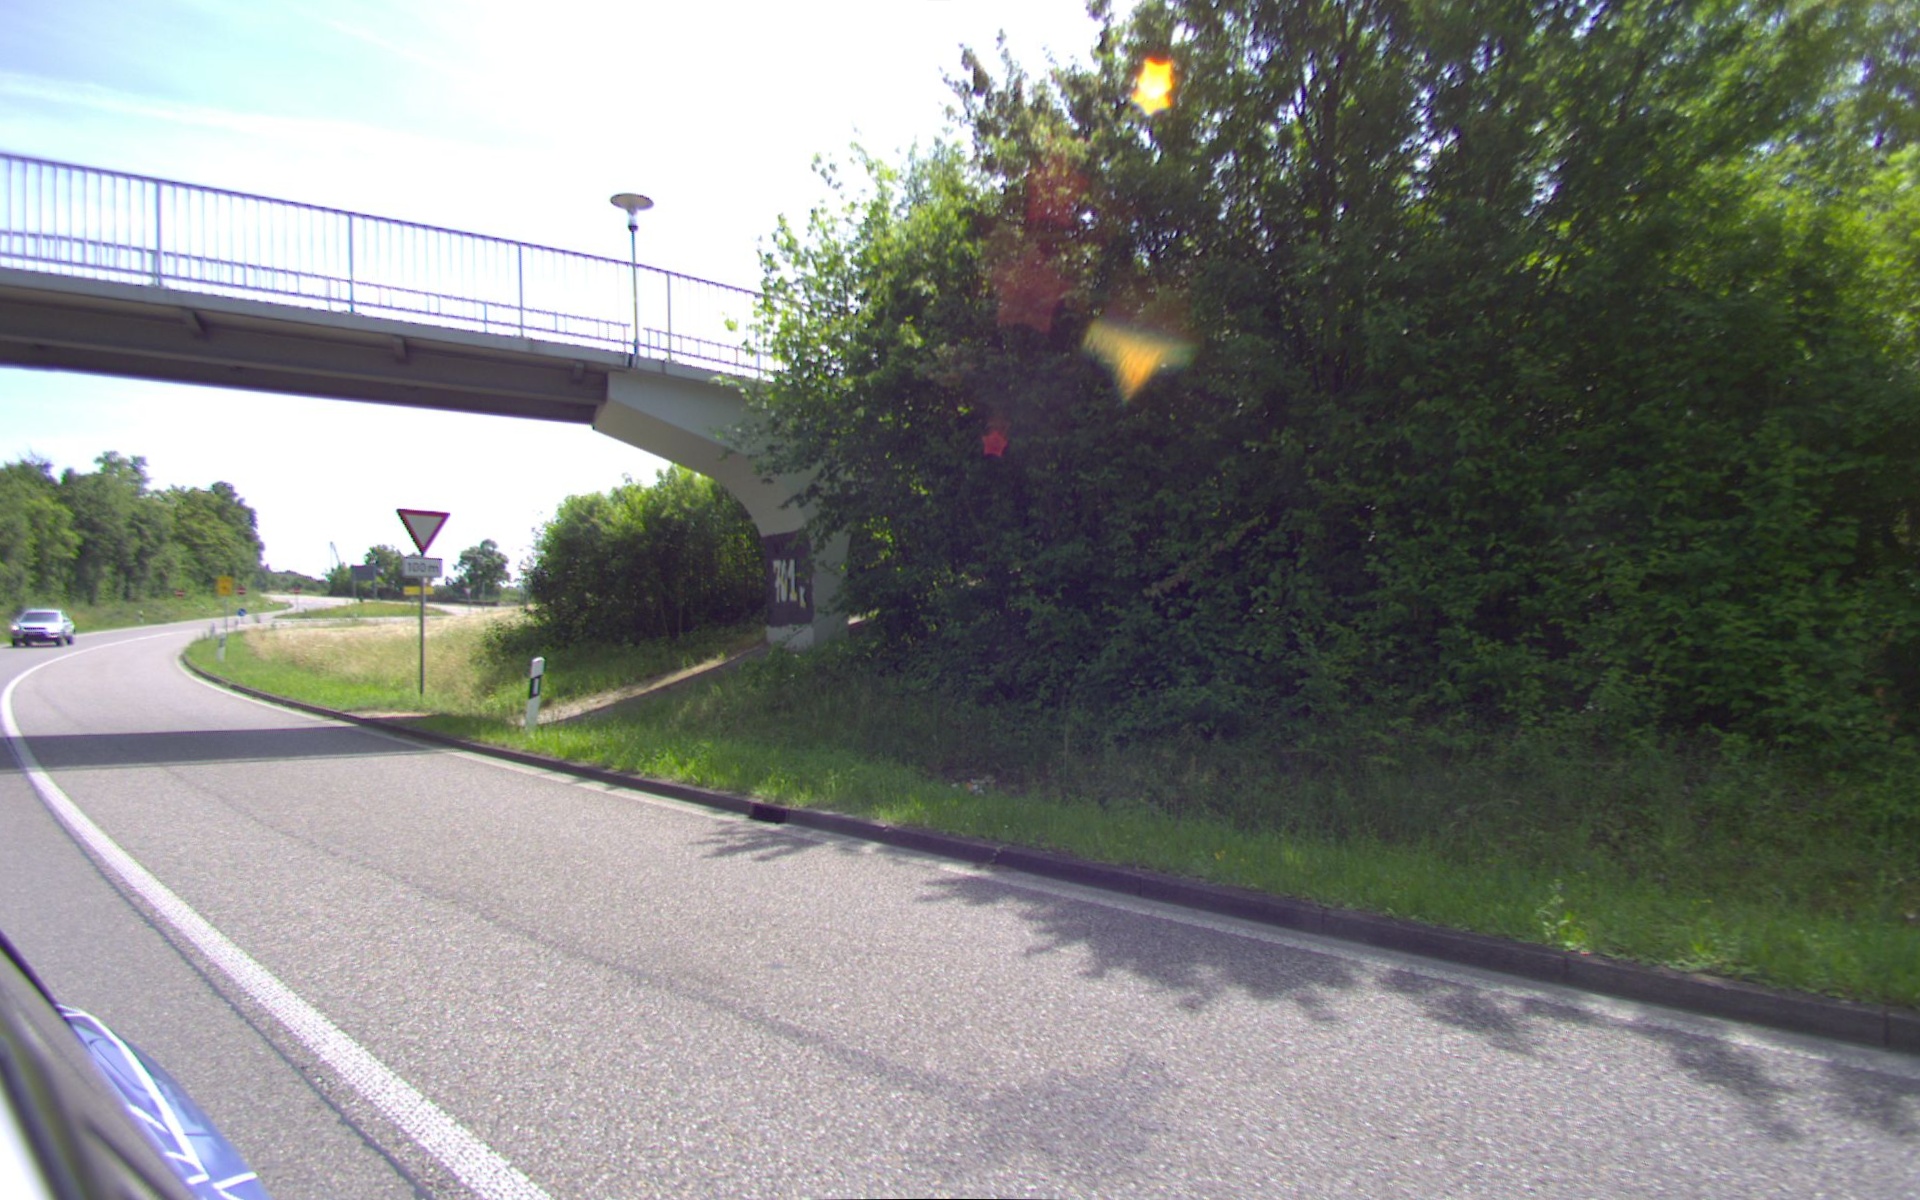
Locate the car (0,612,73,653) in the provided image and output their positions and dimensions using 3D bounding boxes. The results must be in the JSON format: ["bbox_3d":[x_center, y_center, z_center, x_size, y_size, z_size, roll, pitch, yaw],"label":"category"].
[{"bbox_3d":[-42.538,1.445,46.677,1.819,1.721,4.100,-1,0,-33],"label":"car"}]
